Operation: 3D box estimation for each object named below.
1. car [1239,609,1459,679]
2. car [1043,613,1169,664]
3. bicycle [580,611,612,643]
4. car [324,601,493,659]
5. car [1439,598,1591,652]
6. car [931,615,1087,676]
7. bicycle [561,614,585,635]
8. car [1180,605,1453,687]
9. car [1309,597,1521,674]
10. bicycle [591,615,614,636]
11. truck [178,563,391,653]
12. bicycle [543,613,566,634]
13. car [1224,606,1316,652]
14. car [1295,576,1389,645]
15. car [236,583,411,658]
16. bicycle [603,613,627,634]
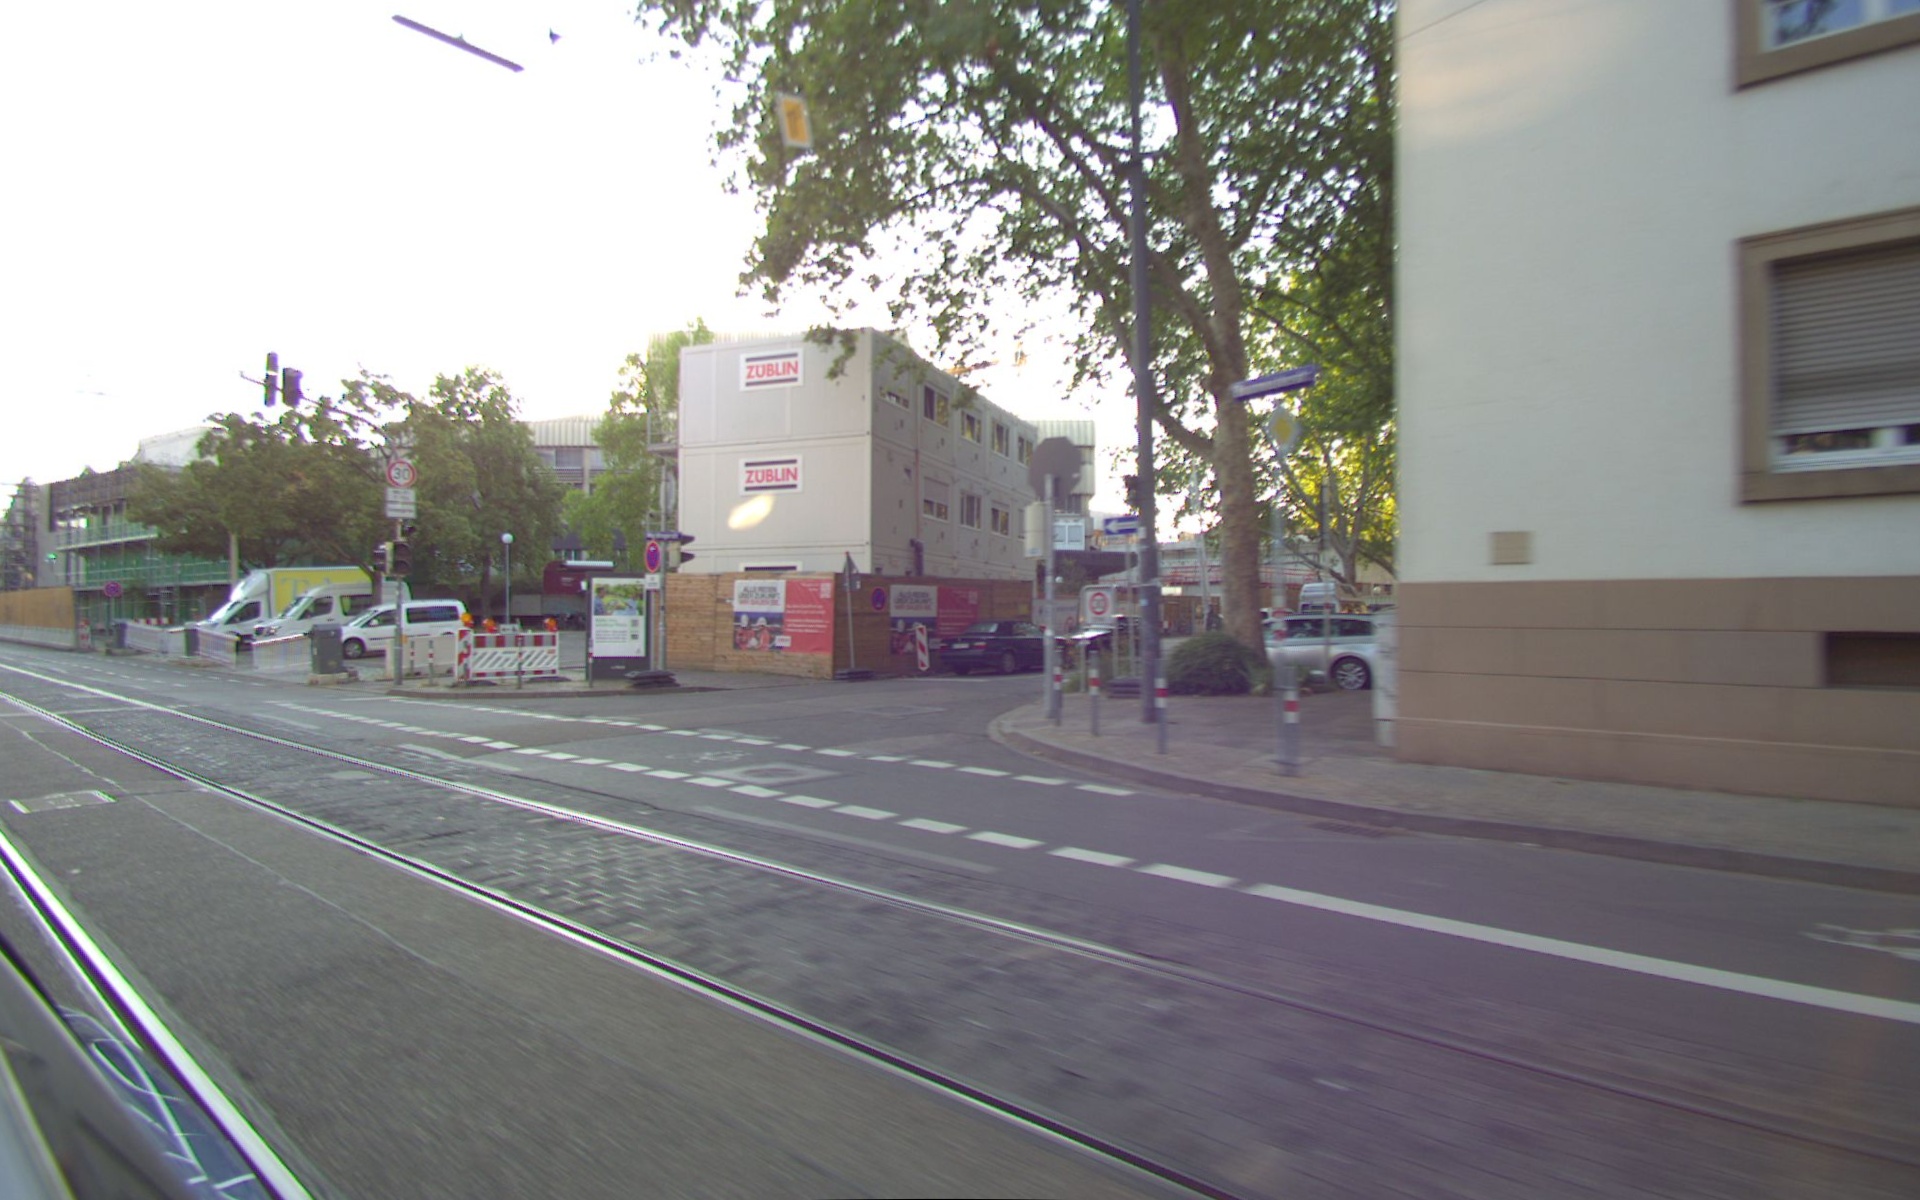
[{"bbox_3d":[8.389,0.983,22.063,4.092,1.370,1.734,-4,-3,42],"label":"car"},{"bbox_3d":[4.426,1.128,30.393,1.758,1.370,4.036,-4,-3,42],"label":"car"},{"bbox_3d":[-16.165,1.180,44.936,0.535,1.379,1.978,0,-1,-45],"label":"bicycle"},{"bbox_3d":[-19.059,0.996,35.142,2.015,1.888,4.781,-2,-1,42],"label":"car"},{"bbox_3d":[18.426,0.853,33.697,4.092,1.626,1.734,-4,-3,42],"label":"car"},{"bbox_3d":[1.306,1.124,25.691,1.758,1.370,4.036,-4,-3,42],"label":"car"},{"bbox_3d":[-22.102,1.405,57.762,0.798,1.191,2.271,0,-1,-32],"label":"bicycle"},{"bbox_3d":[6.584,0.889,19.009,4.473,1.370,1.734,-4,-3,42],"label":"car"},{"bbox_3d":[10.468,0.853,23.435,4.092,1.626,1.734,-4,-3,42],"label":"car"},{"bbox_3d":[-20.678,1.470,58.520,0.798,1.191,2.271,0,-1,-32],"label":"bicycle"},{"bbox_3d":[-28.116,0.359,42.430,2.562,3.454,6.991,-2,-1,37],"label":"truck"},{"bbox_3d":[-23.027,1.345,57.487,0.798,1.191,2.271,0,-1,-32],"label":"bicycle"},{"bbox_3d":[11.855,1.092,38.567,1.758,1.638,4.036,-4,-3,42],"label":"car"},{"bbox_3d":[16.499,0.453,43.545,2.025,2.743,4.951,-4,-3,42],"label":"car"},{"bbox_3d":[-23.925,0.743,38.204,2.226,2.617,5.170,-2,-1,37],"label":"car"},{"bbox_3d":[-20.118,1.355,58.973,0.798,1.191,2.271,0,-1,-32],"label":"bicycle"}]
